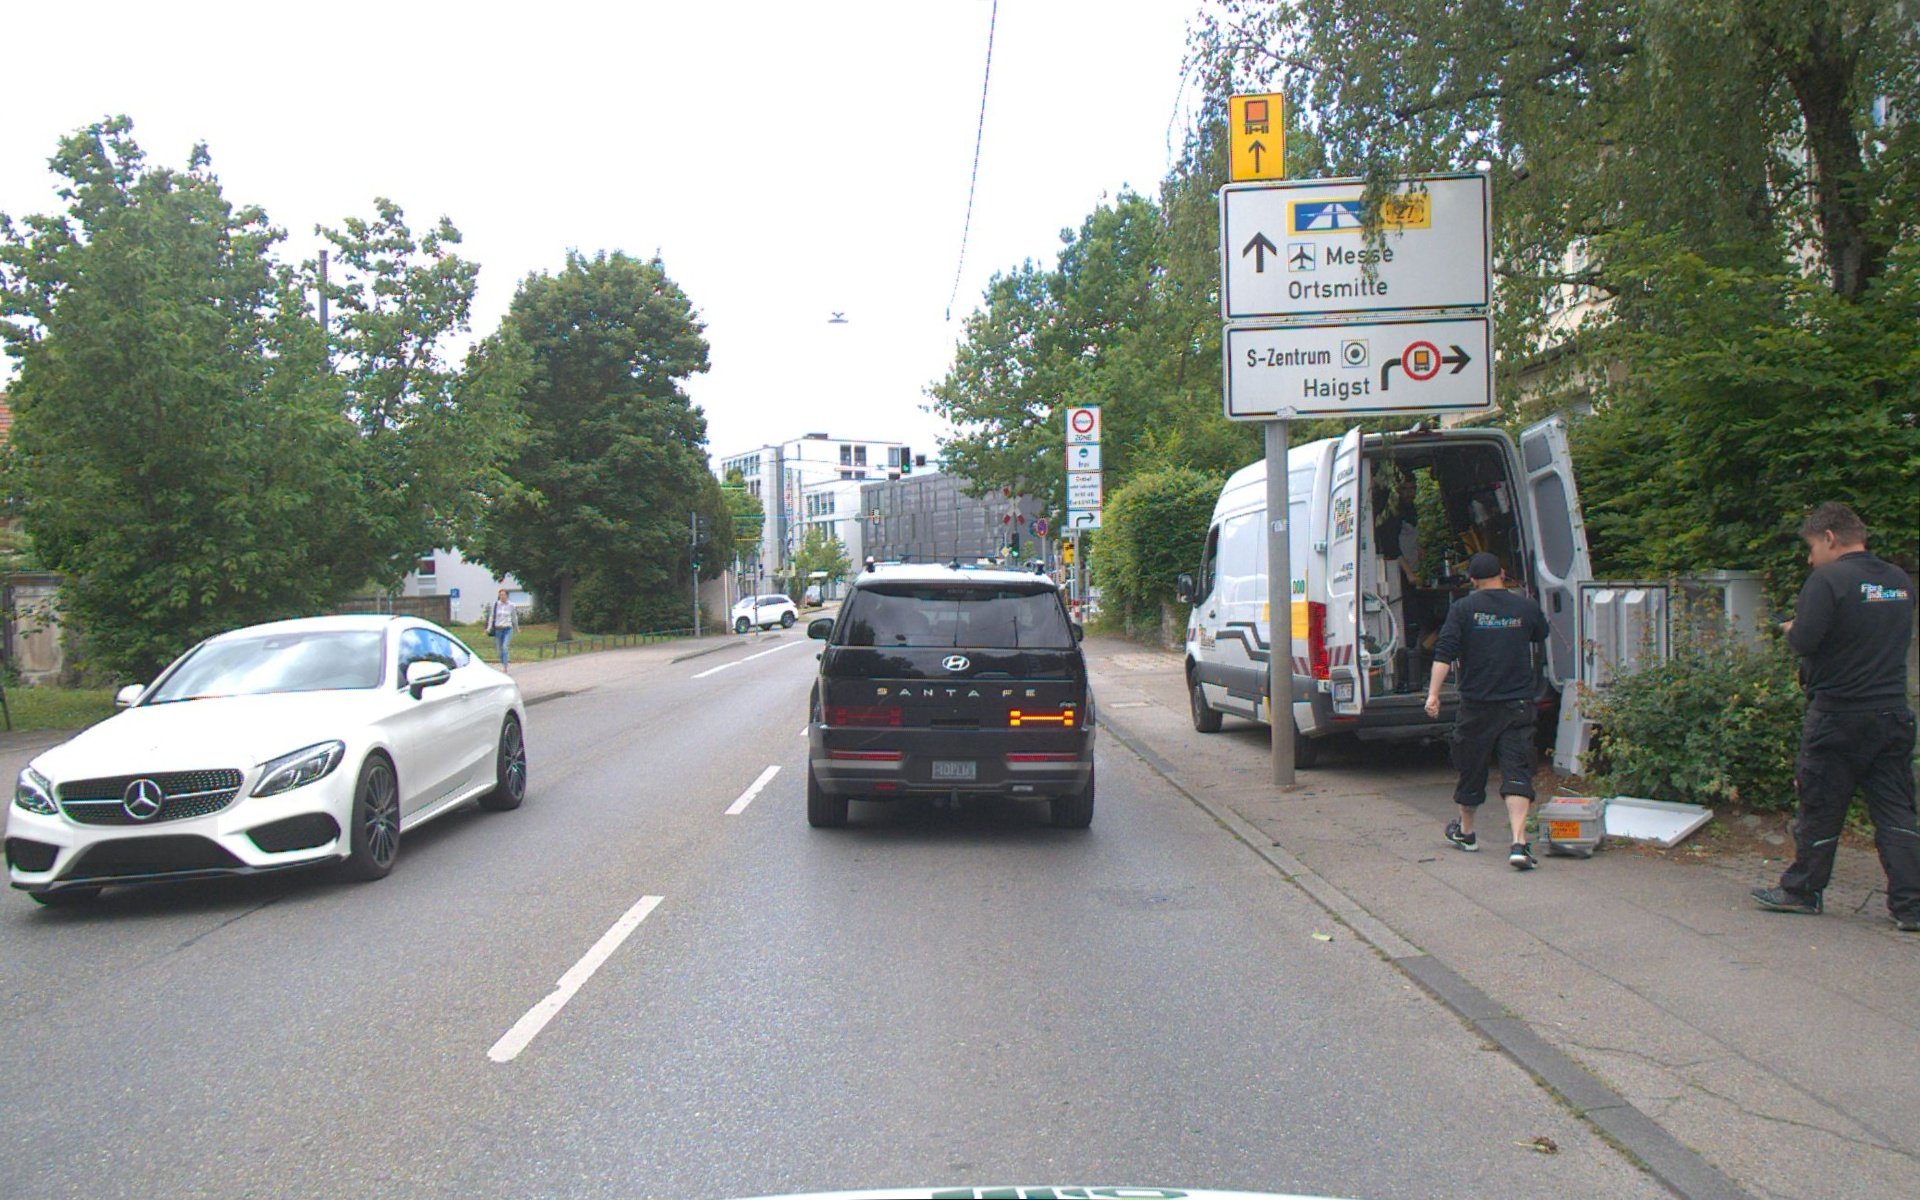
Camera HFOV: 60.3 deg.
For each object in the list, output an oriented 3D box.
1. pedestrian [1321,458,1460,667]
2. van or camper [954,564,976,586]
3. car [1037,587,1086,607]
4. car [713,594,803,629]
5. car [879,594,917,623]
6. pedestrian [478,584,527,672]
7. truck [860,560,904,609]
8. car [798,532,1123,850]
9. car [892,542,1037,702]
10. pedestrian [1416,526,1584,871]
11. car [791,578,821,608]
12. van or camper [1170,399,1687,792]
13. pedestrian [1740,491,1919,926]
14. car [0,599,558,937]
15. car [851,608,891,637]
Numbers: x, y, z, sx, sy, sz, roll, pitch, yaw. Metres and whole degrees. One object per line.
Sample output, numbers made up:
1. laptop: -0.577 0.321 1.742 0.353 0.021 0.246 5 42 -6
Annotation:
1. pedestrian: 3.577 -0.301 13.762 0.728 1.672 0.794 -2 -1 -28
2. van or camper: 0.475 -2.389 161.838 1.760 2.033 3.820 2 0 -4
3. car: 8.326 -0.241 135.855 3.904 1.611 1.890 -1 0 2
4. car: -9.698 0.536 79.763 1.810 1.565 4.245 -1 0 40
5. car: -3.730 0.486 99.190 1.849 1.667 3.890 -1 0 -9
6. pedestrian: -9.386 0.564 33.946 0.751 1.779 0.904 0 0 -2
7. truck: -6.664 -1.295 139.973 3.048 3.926 9.607 -1 0 -6
8. car: -0.017 0.540 11.733 1.858 1.807 3.993 2 0 -1
9. car: 0.040 0.295 24.003 1.858 2.077 3.993 2 0 -1
10. pedestrian: 2.876 0.505 8.889 0.734 1.750 0.792 -3 1 15
11. car: -12.424 -0.565 133.144 2.288 2.356 4.951 -1 0 -6
12. van or camper: 3.640 0.003 14.647 2.294 2.538 6.599 -4 -1 -3
13. pedestrian: 3.820 0.447 7.116 0.634 1.782 0.655 -1 -1 7
14. car: -3.925 0.784 10.022 1.778 1.444 4.827 -4 0 -1
15. car: -4.738 1.170 87.655 1.847 1.445 3.994 -1 0 -6
